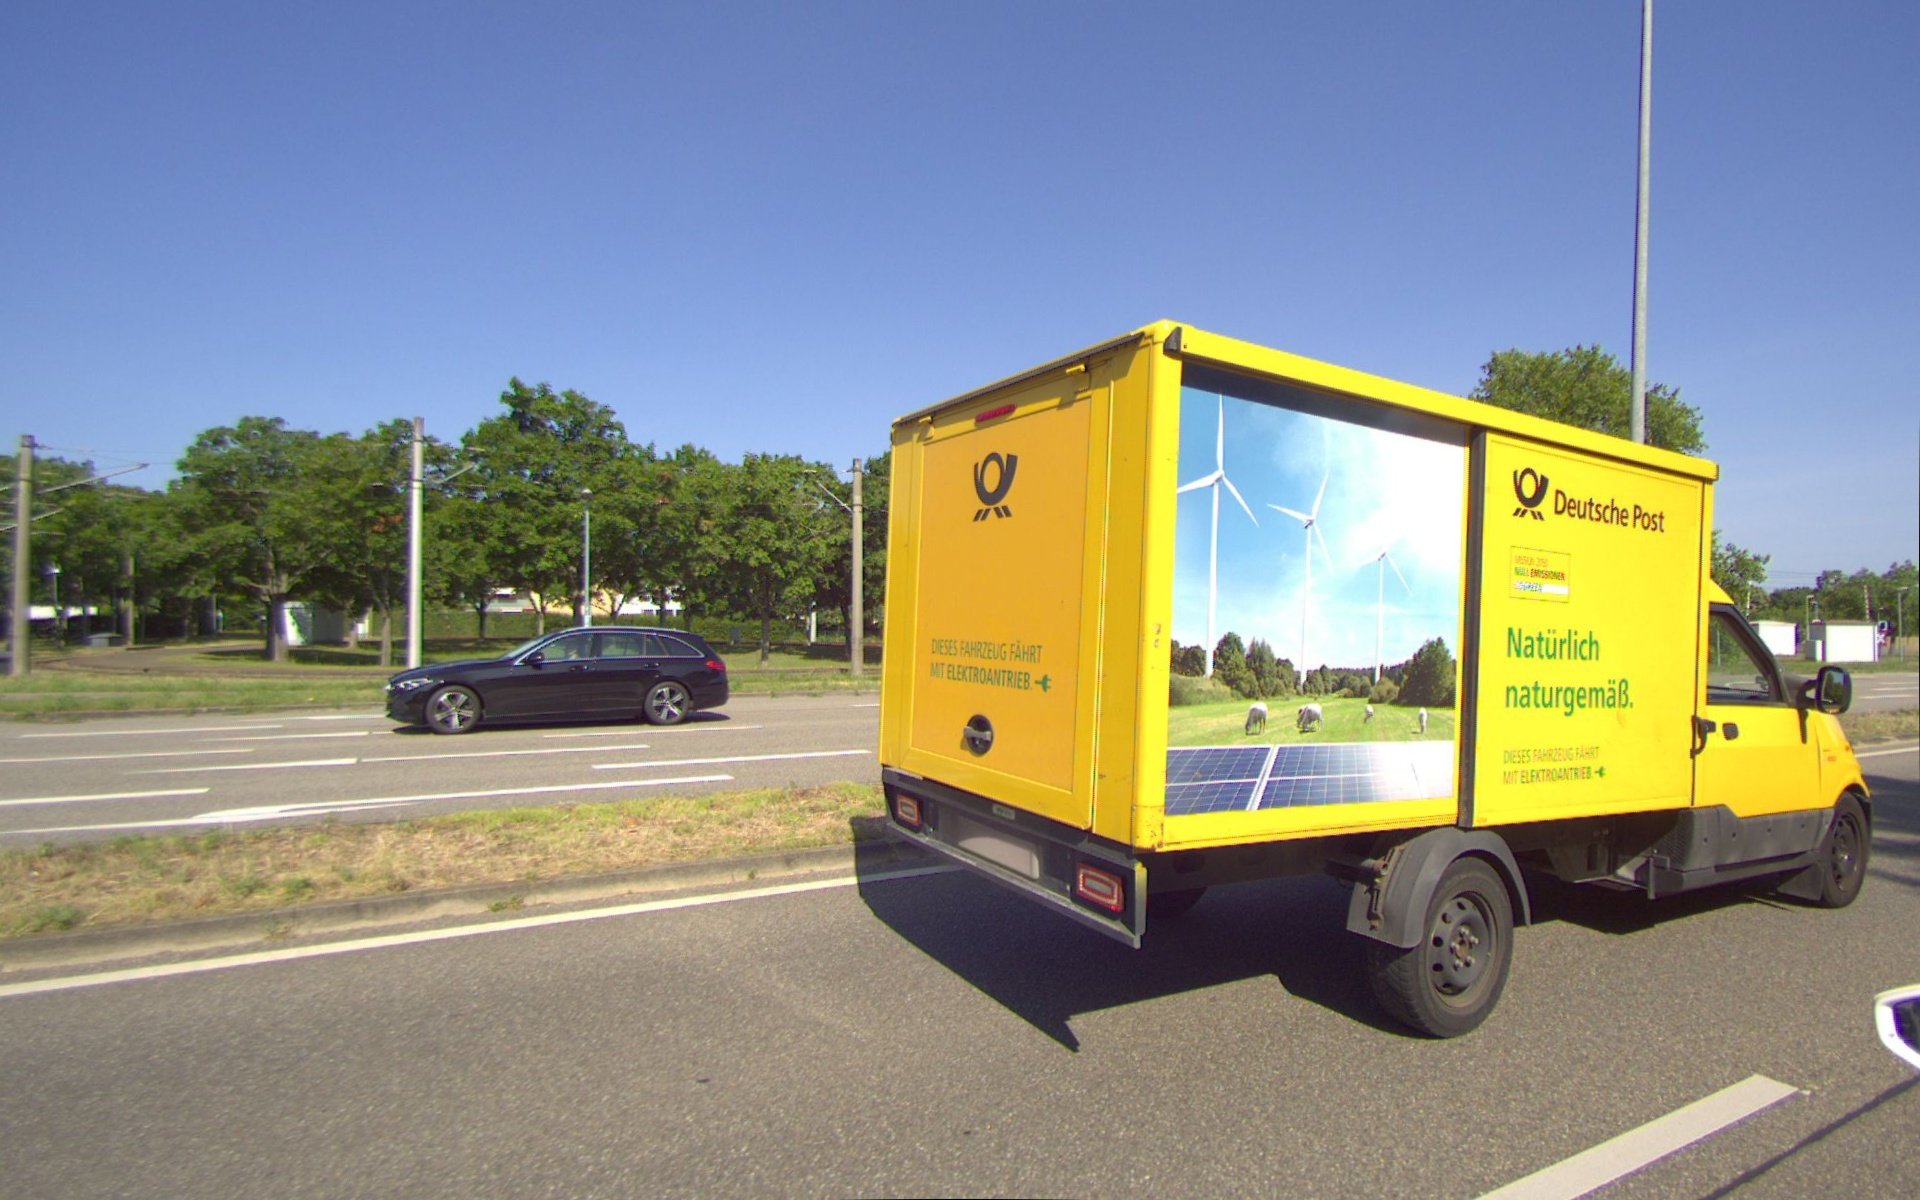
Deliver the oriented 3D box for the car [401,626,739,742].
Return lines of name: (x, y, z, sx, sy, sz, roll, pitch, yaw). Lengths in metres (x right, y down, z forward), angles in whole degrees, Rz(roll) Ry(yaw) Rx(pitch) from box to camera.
car: (-5.691, 1.144, 14.828, 4.418, 1.485, 1.822, 2, -2, -31)

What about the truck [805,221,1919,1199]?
truck: (2.379, 0.357, 4.976, 5.850, 2.490, 2.100, 2, 0, -32)
